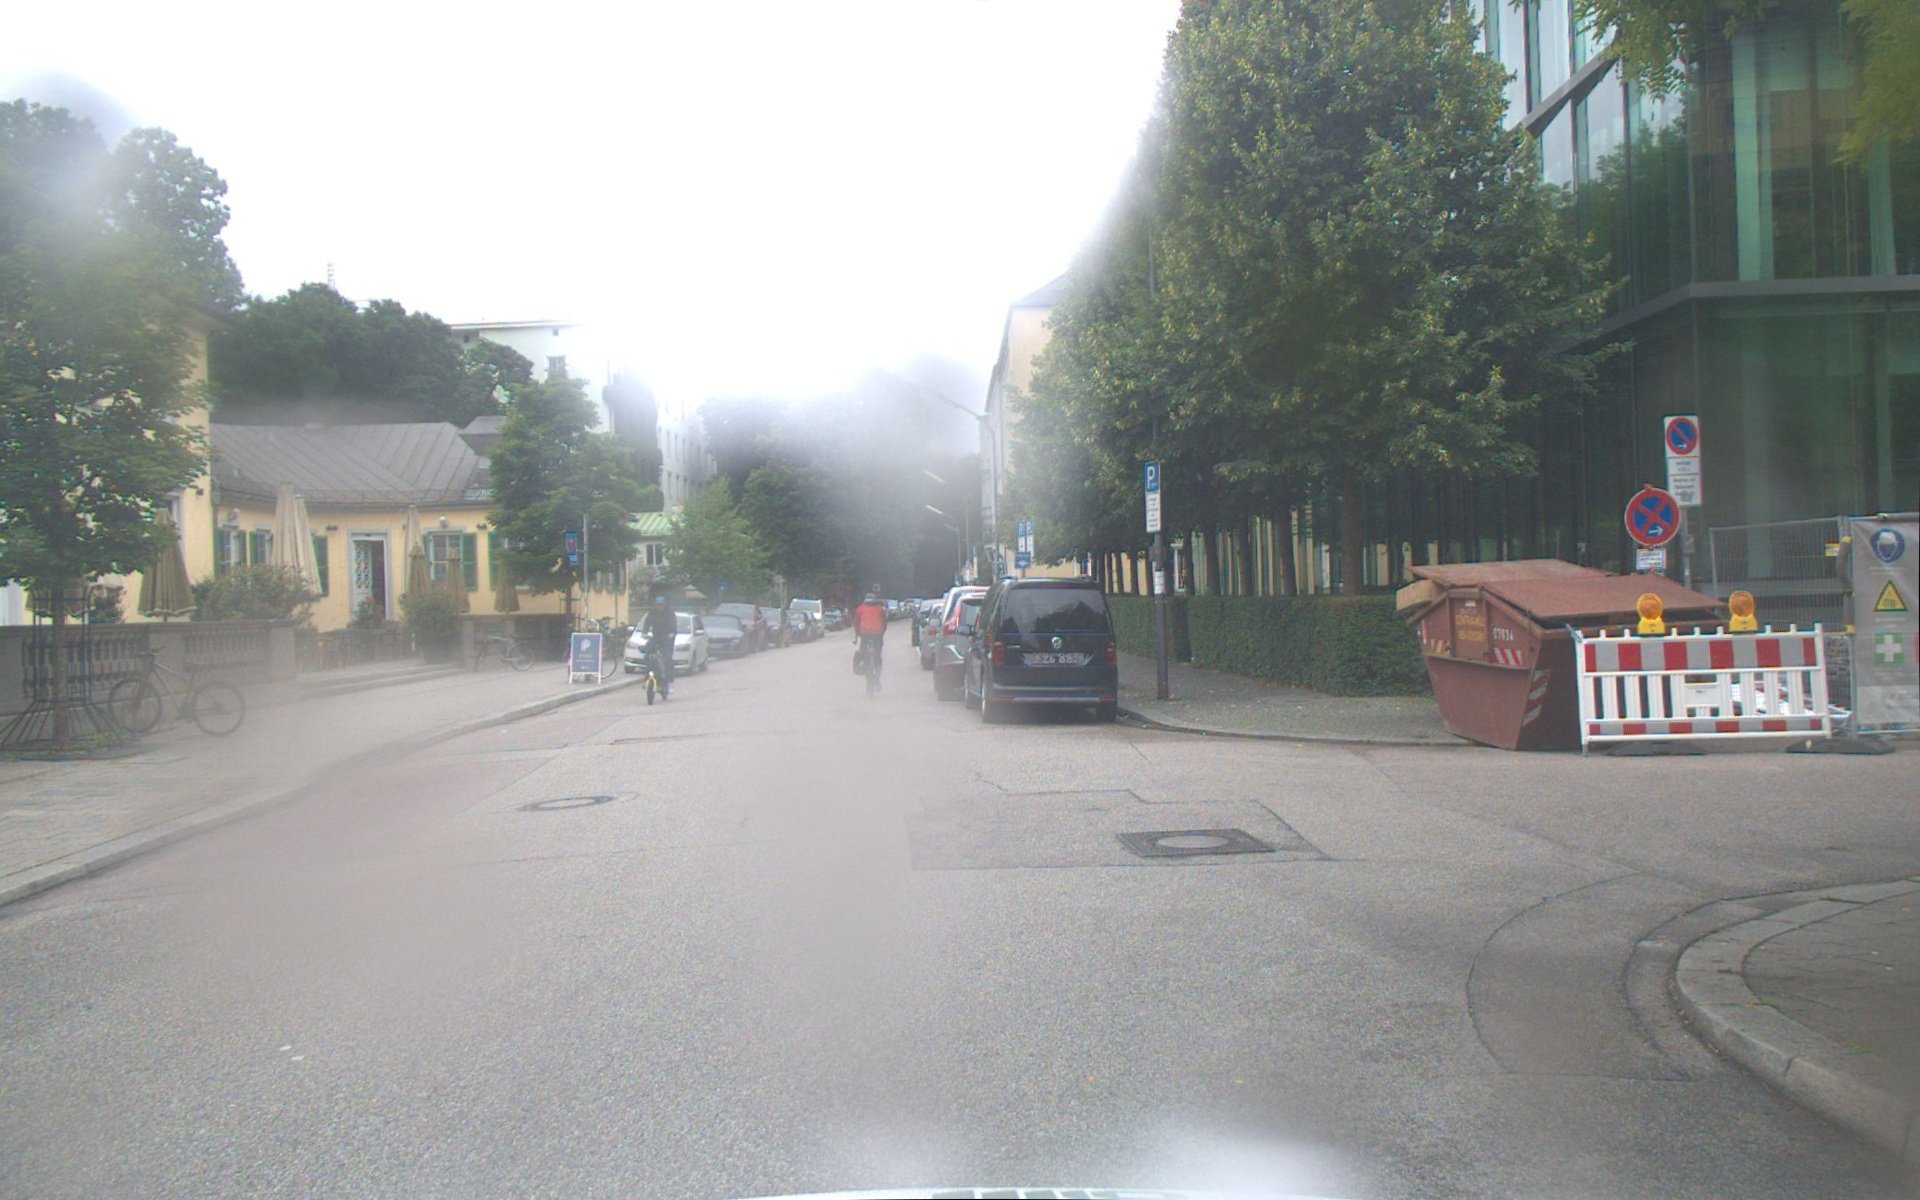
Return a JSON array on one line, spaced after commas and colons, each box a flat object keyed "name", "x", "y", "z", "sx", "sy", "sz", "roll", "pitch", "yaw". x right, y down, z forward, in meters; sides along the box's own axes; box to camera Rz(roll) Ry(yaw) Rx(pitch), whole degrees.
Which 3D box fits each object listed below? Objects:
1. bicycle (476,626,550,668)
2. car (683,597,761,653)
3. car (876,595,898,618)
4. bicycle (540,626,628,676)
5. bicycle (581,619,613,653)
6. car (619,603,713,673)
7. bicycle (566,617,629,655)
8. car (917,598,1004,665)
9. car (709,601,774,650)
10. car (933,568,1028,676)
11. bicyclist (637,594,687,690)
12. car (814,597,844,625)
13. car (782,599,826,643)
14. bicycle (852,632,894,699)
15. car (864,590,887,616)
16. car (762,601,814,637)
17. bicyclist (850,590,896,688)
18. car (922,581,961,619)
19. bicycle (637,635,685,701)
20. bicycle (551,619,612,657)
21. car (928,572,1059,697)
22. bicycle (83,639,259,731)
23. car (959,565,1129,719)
[{"name": "bicycle", "x": -10.815, "y": 1.138, "z": 40.007, "sx": 1.596, "sy": 0.942, "sz": 0.645, "roll": -1, "pitch": -2, "yaw": -30}, {"name": "car", "x": -7.599, "y": 0.755, "z": 53.153, "sx": 1.953, "sy": 1.677, "sz": 4.653, "roll": -2, "pitch": 0, "yaw": -2}, {"name": "car", "x": -6.895, "y": 0.640, "z": 157.363, "sx": 1.953, "sy": 2.049, "sz": 3.999, "roll": 1, "pitch": -1, "yaw": -1}, {"name": "bicycle", "x": -8.146, "y": 1.094, "z": 35.945, "sx": 0.609, "sy": 1.022, "sz": 2.137, "roll": 1, "pitch": 0, "yaw": 28}, {"name": "bicycle", "x": -11.403, "y": 1.123, "z": 51.933, "sx": 0.609, "sy": 1.022, "sz": 1.619, "roll": -1, "pitch": -1, "yaw": 1}, {"name": "car", "x": -7.155, "y": 0.894, "z": 40.564, "sx": 1.699, "sy": 1.609, "sz": 3.786, "roll": 1, "pitch": 0, "yaw": -2}, {"name": "bicycle", "x": -10.291, "y": 1.021, "z": 46.972, "sx": 1.598, "sy": 1.022, "sz": 0.617, "roll": -1, "pitch": -2, "yaw": -32}, {"name": "car", "x": -0.034, "y": 0.694, "z": 38.852, "sx": 1.826, "sy": 1.465, "sz": 4.253, "roll": -1, "pitch": 0, "yaw": -3}, {"name": "car", "x": -7.649, "y": 0.887, "z": 58.236, "sx": 1.954, "sy": 1.631, "sz": 3.997, "roll": -1, "pitch": -1, "yaw": -4}, {"name": "car", "x": 0.352, "y": 0.402, "z": 33.338, "sx": 1.714, "sy": 1.977, "sz": 4.226, "roll": -2, "pitch": 0, "yaw": -1}, {"name": "bicyclist", "x": -5.122, "y": 0.706, "z": 28.492, "sx": 0.729, "sy": 1.603, "sz": 0.976, "roll": -2, "pitch": 0, "yaw": -6}, {"name": "car", "x": -8.512, "y": 0.673, "z": 107.518, "sx": 1.774, "sy": 1.712, "sz": 3.998, "roll": -2, "pitch": 0, "yaw": -3}, {"name": "car", "x": -7.963, "y": 1.028, "z": 84.734, "sx": 1.954, "sy": 2.116, "sz": 3.998, "roll": -2, "pitch": 0, "yaw": -3}, {"name": "bicycle", "x": -1.396, "y": 1.044, "z": 26.748, "sx": 0.609, "sy": 1.022, "sz": 2.139, "roll": -2, "pitch": -1, "yaw": -2}, {"name": "car", "x": -7.422, "y": 0.251, "z": 145.434, "sx": 1.954, "sy": 2.135, "sz": 3.998, "roll": 1, "pitch": 0, "yaw": -3}, {"name": "car", "x": -7.885, "y": 0.841, "z": 76.132, "sx": 1.953, "sy": 1.512, "sz": 3.999, "roll": -2, "pitch": 0, "yaw": -1}, {"name": "bicyclist", "x": -1.400, "y": 0.634, "z": 26.797, "sx": 0.658, "sy": 1.524, "sz": 1.094, "roll": -2, "pitch": -2, "yaw": -1}, {"name": "car", "x": -1.093, "y": -0.014, "z": 96.154, "sx": 1.954, "sy": 2.096, "sz": 4.619, "roll": -1, "pitch": 0, "yaw": -4}, {"name": "bicycle", "x": -5.125, "y": 1.153, "z": 28.435, "sx": 0.609, "sy": 1.021, "sz": 2.137, "roll": -2, "pitch": 0, "yaw": -6}, {"name": "bicycle", "x": -10.996, "y": 1.104, "z": 48.077, "sx": 1.604, "sy": 1.021, "sz": 0.614, "roll": -2, "pitch": -1, "yaw": -41}, {"name": "car", "x": 0.461, "y": 0.503, "z": 27.123, "sx": 1.825, "sy": 1.825, "sz": 4.507, "roll": -2, "pitch": 0, "yaw": -2}, {"name": "bicycle", "x": -9.926, "y": 1.061, "z": 20.844, "sx": 1.892, "sy": 1.118, "sz": 0.614, "roll": 0, "pitch": 0, "yaw": -2}, {"name": "car", "x": 1.034, "y": 0.502, "z": 22.335, "sx": 1.726, "sy": 1.855, "sz": 4.135, "roll": -1, "pitch": 0, "yaw": -5}]
